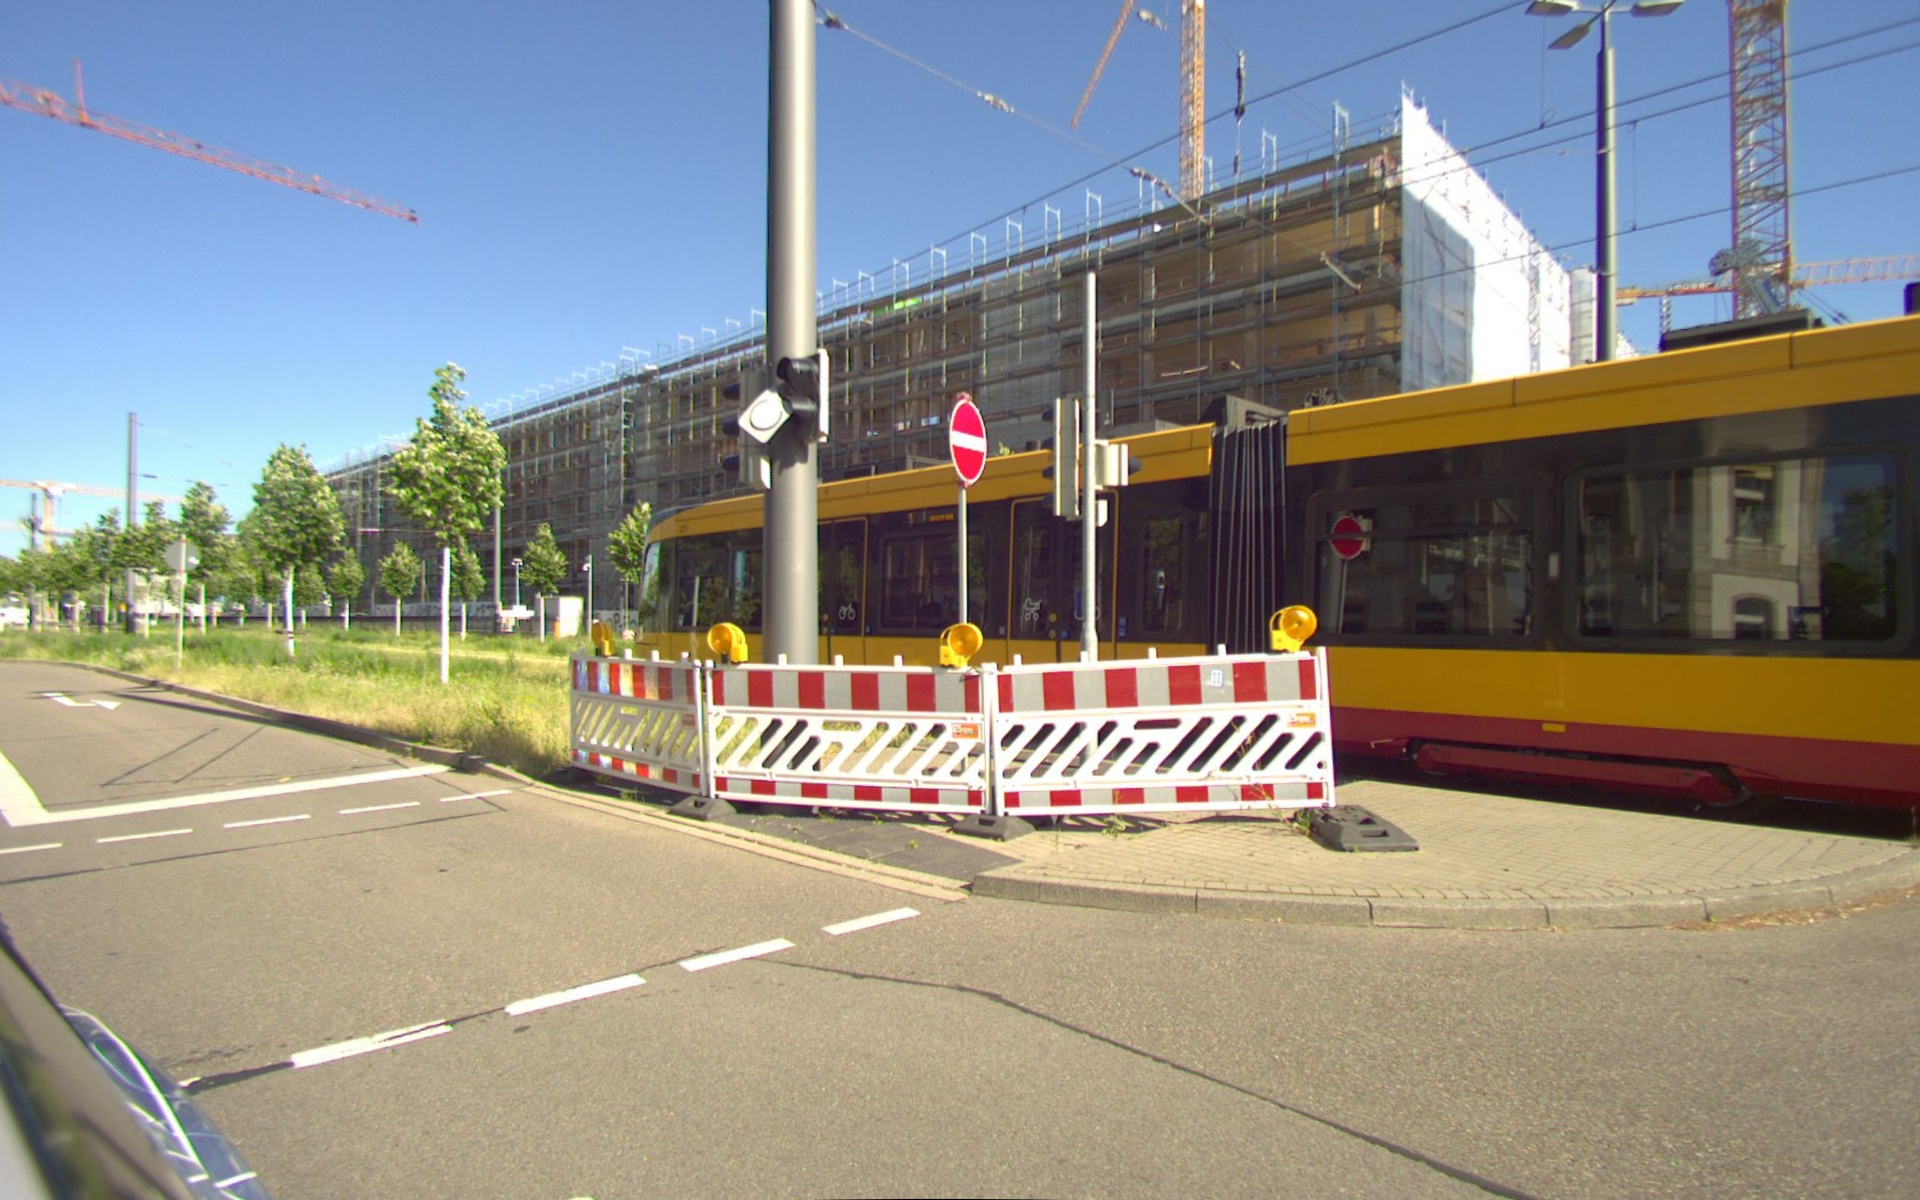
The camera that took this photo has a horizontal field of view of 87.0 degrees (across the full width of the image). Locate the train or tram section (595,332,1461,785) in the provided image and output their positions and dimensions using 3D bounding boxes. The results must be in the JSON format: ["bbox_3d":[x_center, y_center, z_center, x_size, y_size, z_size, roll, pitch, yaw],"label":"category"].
[{"bbox_3d":[-0.918,-0.289,13.985,1.971,3.697,14.160,0,0,-45],"label":"train or tram section"}]

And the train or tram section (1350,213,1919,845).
[{"bbox_3d":[7.909,-0.438,5.019,1.971,3.697,11.322,0,0,-45],"label":"train or tram section"}]
